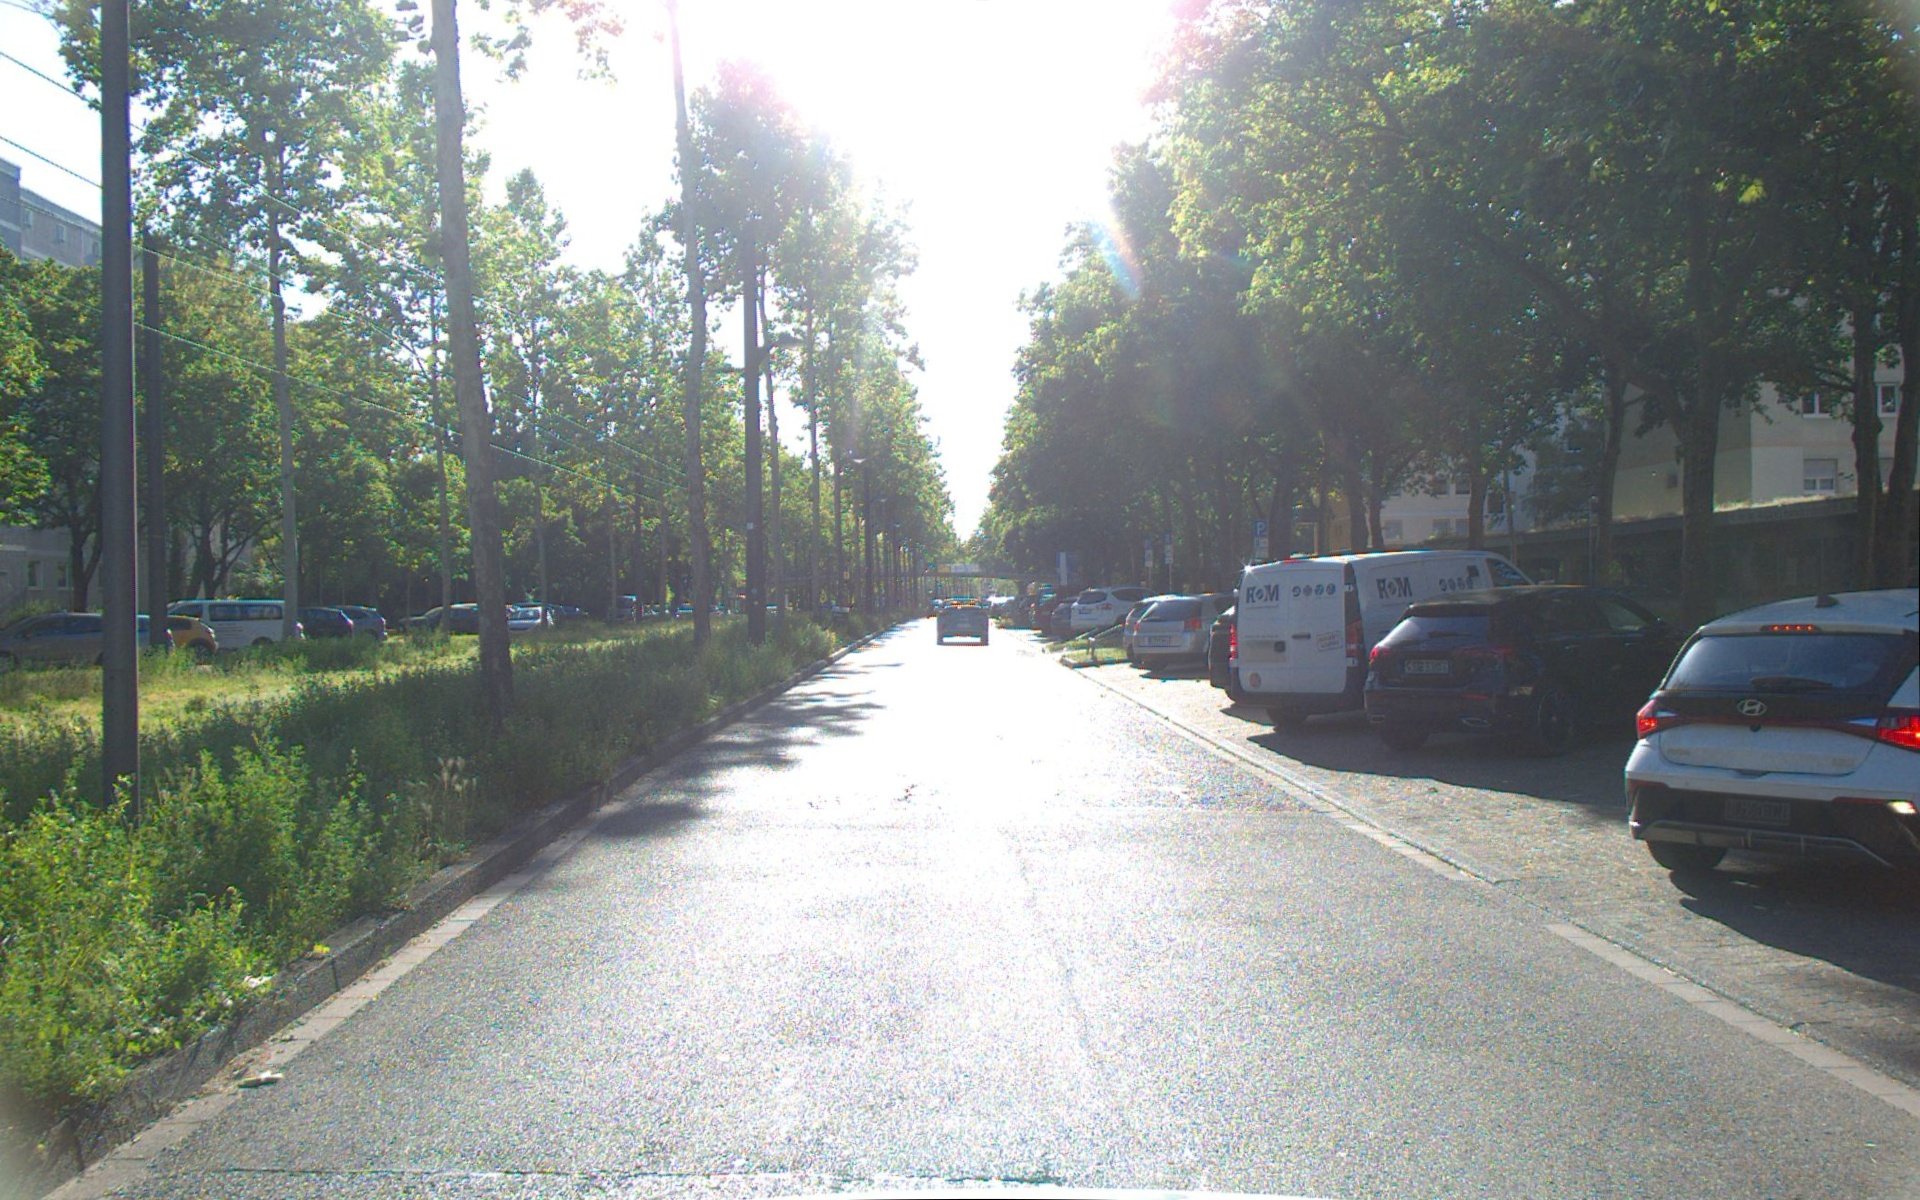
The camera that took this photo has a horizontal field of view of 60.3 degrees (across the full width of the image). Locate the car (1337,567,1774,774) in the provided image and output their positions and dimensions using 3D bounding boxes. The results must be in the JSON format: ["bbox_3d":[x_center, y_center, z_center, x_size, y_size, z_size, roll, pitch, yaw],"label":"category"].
[{"bbox_3d":[5.652,0.586,15.579,3.949,1.454,1.779,-5,1,-32],"label":"car"}]

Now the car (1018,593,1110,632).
[{"bbox_3d":[4.824,0.588,76.622,4.039,1.609,1.759,-2,0,-36],"label":"car"}]

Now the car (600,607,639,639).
[{"bbox_3d":[-23.995,1.603,116.659,1.611,2.130,4.915,2,0,1],"label":"car"}]

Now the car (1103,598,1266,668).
[{"bbox_3d":[5.096,0.725,37.226,3.910,1.397,1.562,-2,0,-45],"label":"car"}]

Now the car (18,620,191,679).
[{"bbox_3d":[-24.096,1.366,46.647,4.051,1.509,1.625,-1,0,-43],"label":"car"}]

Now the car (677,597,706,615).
[{"bbox_3d":[-25.310,0.590,155.952,1.952,1.618,4.168,2,0,1],"label":"car"}]

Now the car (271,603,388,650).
[{"bbox_3d":[-24.030,0.990,63.167,4.007,1.635,1.986,-1,1,-17],"label":"car"}]

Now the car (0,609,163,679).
[{"bbox_3d":[-23.310,1.137,43.349,4.051,1.675,1.625,-1,-1,-43],"label":"car"}]

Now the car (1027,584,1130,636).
[{"bbox_3d":[4.710,0.386,65.388,4.049,1.842,1.627,-2,0,-41],"label":"car"}]

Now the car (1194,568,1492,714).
[{"bbox_3d":[5.367,0.508,22.849,4.465,1.734,1.734,-2,0,-42],"label":"car"}]

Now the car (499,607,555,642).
[{"bbox_3d":[-19.921,1.112,76.208,1.612,1.511,3.848,-2,-1,-1],"label":"car"}]

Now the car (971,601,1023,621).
[{"bbox_3d":[3.245,0.921,144.408,4.587,1.710,1.827,0,-1,-43],"label":"car"}]

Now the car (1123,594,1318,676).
[{"bbox_3d":[5.265,0.678,33.123,4.154,1.437,1.692,-2,0,-44],"label":"car"}]

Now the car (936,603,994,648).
[{"bbox_3d":[0.121,0.834,56.361,1.883,1.436,3.999,0,0,-1],"label":"car"}]

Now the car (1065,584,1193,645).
[{"bbox_3d":[5.298,0.440,51.681,3.994,1.734,1.734,-2,0,-42],"label":"car"}]

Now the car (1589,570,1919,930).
[{"bbox_3d":[5.462,0.615,9.034,3.948,1.495,1.741,-4,1,-32],"label":"car"}]

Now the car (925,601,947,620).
[{"bbox_3d":[-2.007,0.878,139.537,1.811,1.562,3.866,-1,0,0],"label":"car"}]

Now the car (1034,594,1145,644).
[{"bbox_3d":[4.348,0.630,55.215,3.759,1.496,1.624,-2,0,-44],"label":"car"}]

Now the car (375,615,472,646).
[{"bbox_3d":[-25.592,1.439,78.969,4.100,1.361,1.767,-1,1,-44],"label":"car"}]

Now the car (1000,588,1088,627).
[{"bbox_3d":[4.050,0.354,79.480,4.280,1.747,1.612,-1,0,-40],"label":"car"}]

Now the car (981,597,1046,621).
[{"bbox_3d":[3.597,0.596,110.523,4.298,1.449,1.826,-2,0,-45],"label":"car"}]

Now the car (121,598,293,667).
[{"bbox_3d":[-24.277,1.014,53.393,4.752,2.041,1.866,-1,1,-39],"label":"car"}]

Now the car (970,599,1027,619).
[{"bbox_3d":[3.021,0.696,129.444,1.945,1.484,4.595,-2,-1,43],"label":"car"}]

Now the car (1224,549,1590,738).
[{"bbox_3d":[5.286,0.426,19.209,4.629,1.885,1.803,-2,0,-41],"label":"car"}]

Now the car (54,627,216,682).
[{"bbox_3d":[-24.532,1.604,49.266,4.055,1.457,1.553,-1,-2,-45],"label":"car"}]

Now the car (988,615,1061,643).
[{"bbox_3d":[3.925,1.738,100.494,4.461,1.469,1.826,-2,0,-45],"label":"car"}]

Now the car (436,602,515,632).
[{"bbox_3d":[-30.283,1.058,103.376,4.452,1.704,1.767,-1,0,-44],"label":"car"}]
